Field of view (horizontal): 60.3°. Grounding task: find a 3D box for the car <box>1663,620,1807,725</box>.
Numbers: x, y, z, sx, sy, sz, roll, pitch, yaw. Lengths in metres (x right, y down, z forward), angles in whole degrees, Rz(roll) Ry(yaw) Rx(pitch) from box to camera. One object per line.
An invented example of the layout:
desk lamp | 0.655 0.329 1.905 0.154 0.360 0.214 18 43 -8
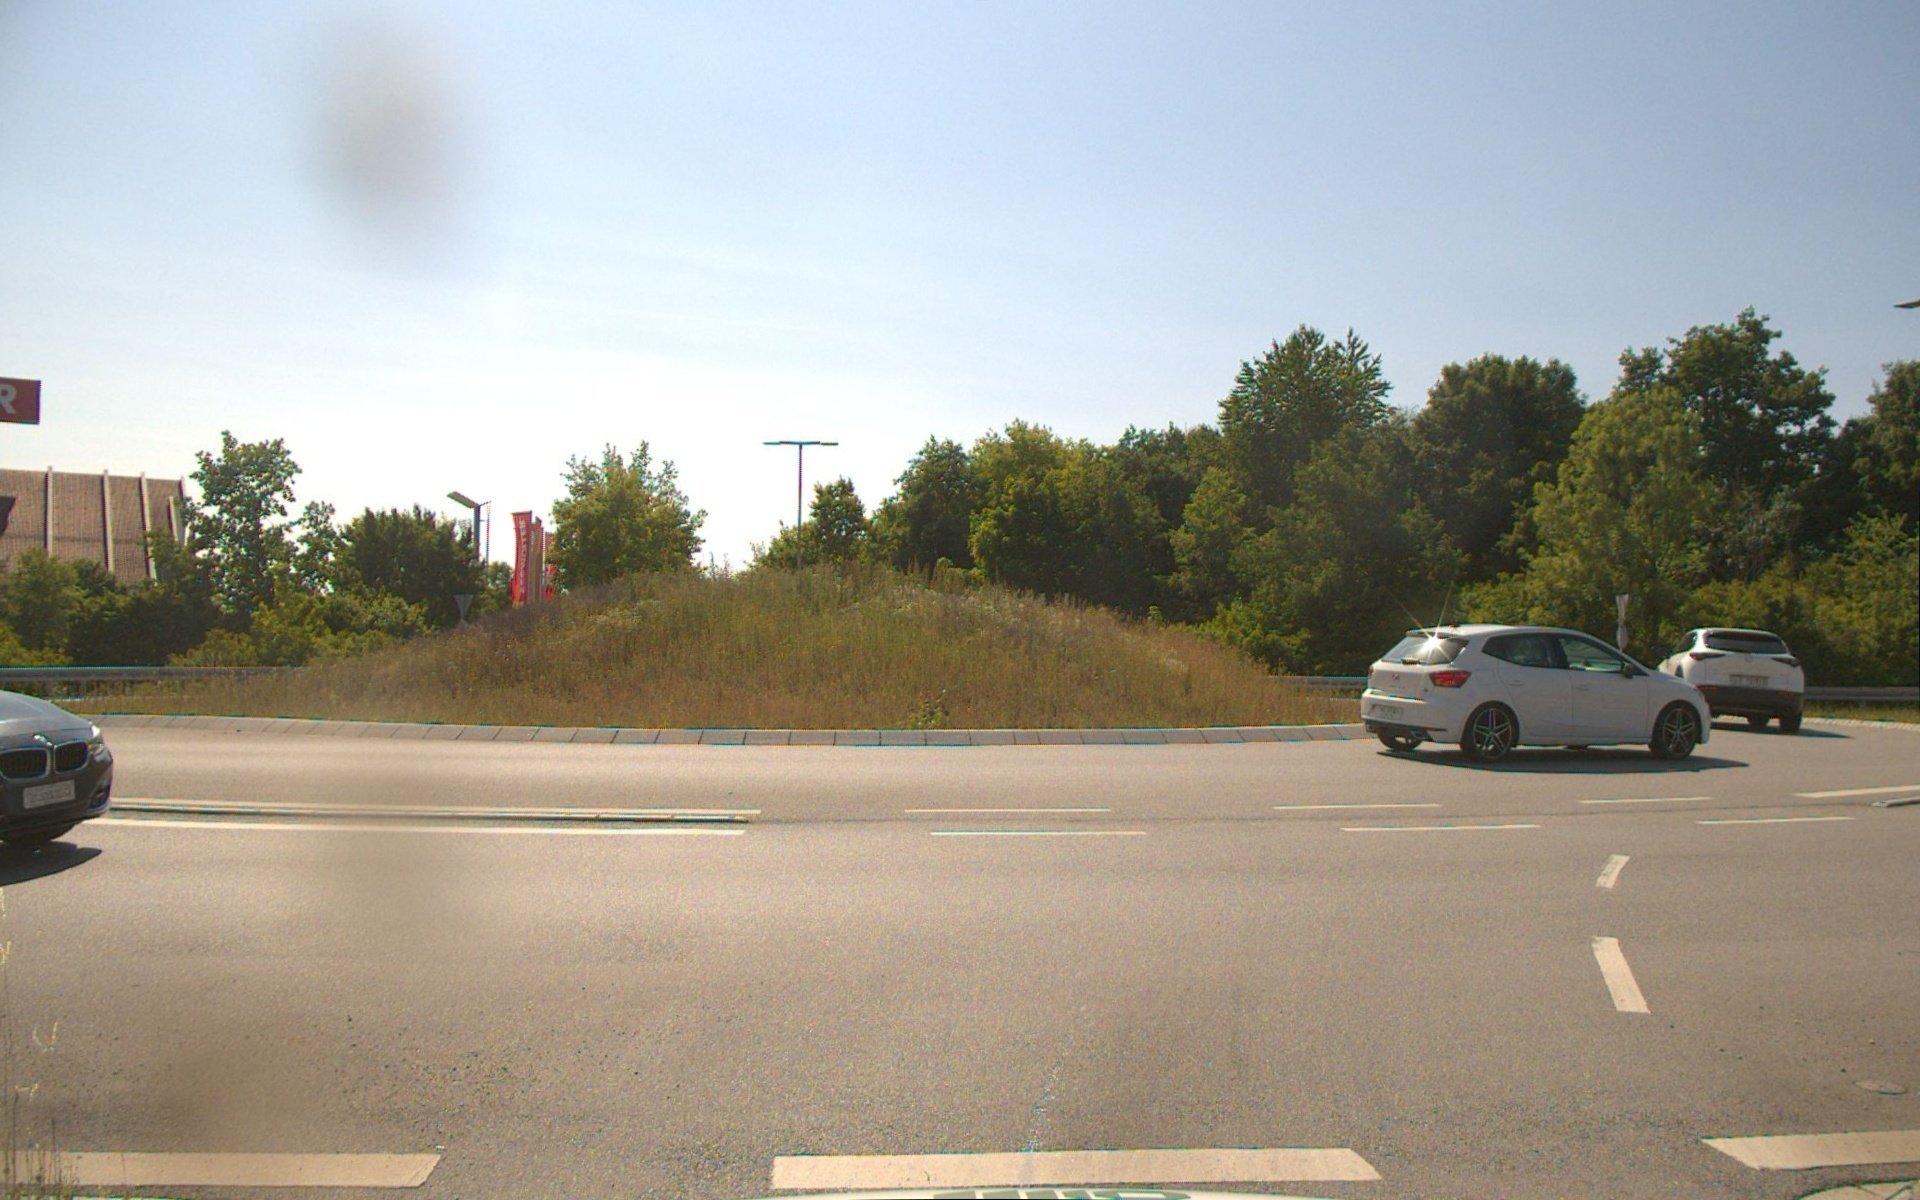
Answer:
car | 12.522 1.142 26.929 1.749 1.557 4.288 -1 -2 20

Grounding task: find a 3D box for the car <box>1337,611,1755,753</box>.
car | 6.542 0.897 18.461 4.341 1.430 1.780 2 -1 -22

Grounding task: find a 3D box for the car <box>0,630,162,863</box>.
car | -6.847 0.752 9.468 3.770 1.203 1.678 1 -1 8
